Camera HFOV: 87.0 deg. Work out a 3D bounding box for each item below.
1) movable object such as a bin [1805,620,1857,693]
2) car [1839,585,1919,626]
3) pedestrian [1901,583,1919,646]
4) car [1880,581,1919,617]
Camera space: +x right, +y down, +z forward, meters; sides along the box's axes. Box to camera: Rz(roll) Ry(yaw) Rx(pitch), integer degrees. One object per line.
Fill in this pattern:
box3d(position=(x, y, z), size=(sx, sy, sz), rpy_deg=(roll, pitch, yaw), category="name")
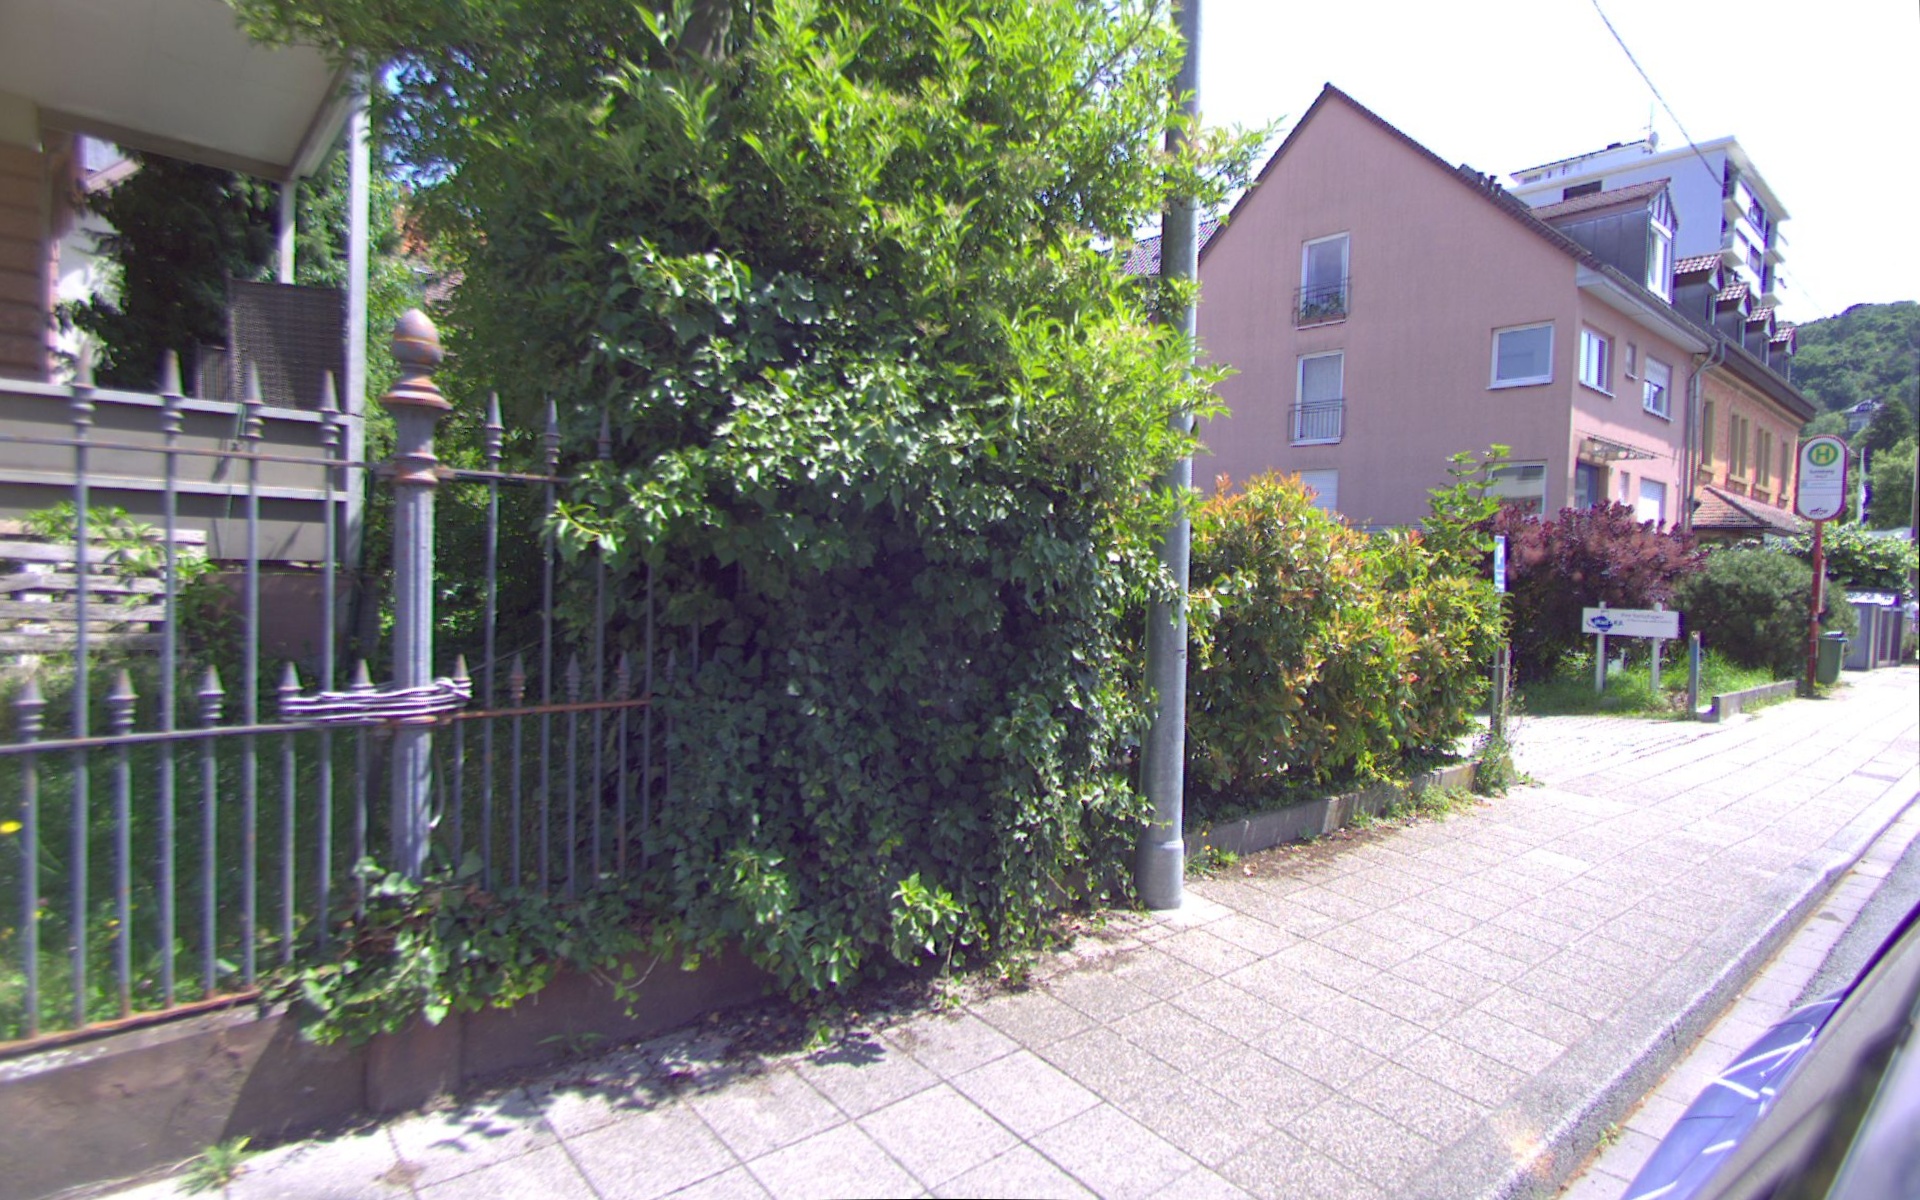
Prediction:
box3d(position=(12.120, 0.778, 14.082), size=(0.717, 0.917, 0.407), rpy_deg=(-2, 7, -44), category="movable object such as a bin")
box3d(position=(39.976, 0.235, 42.916), size=(3.867, 1.561, 1.818), rpy_deg=(3, 3, 37), category="car")
box3d(position=(25.912, 0.392, 27.257), size=(0.704, 1.661, 0.650), rpy_deg=(5, 2, 40), category="pedestrian")
box3d(position=(50.804, -0.041, 52.713), size=(1.788, 1.812, 4.292), rpy_deg=(0, 2, -2), category="car")
